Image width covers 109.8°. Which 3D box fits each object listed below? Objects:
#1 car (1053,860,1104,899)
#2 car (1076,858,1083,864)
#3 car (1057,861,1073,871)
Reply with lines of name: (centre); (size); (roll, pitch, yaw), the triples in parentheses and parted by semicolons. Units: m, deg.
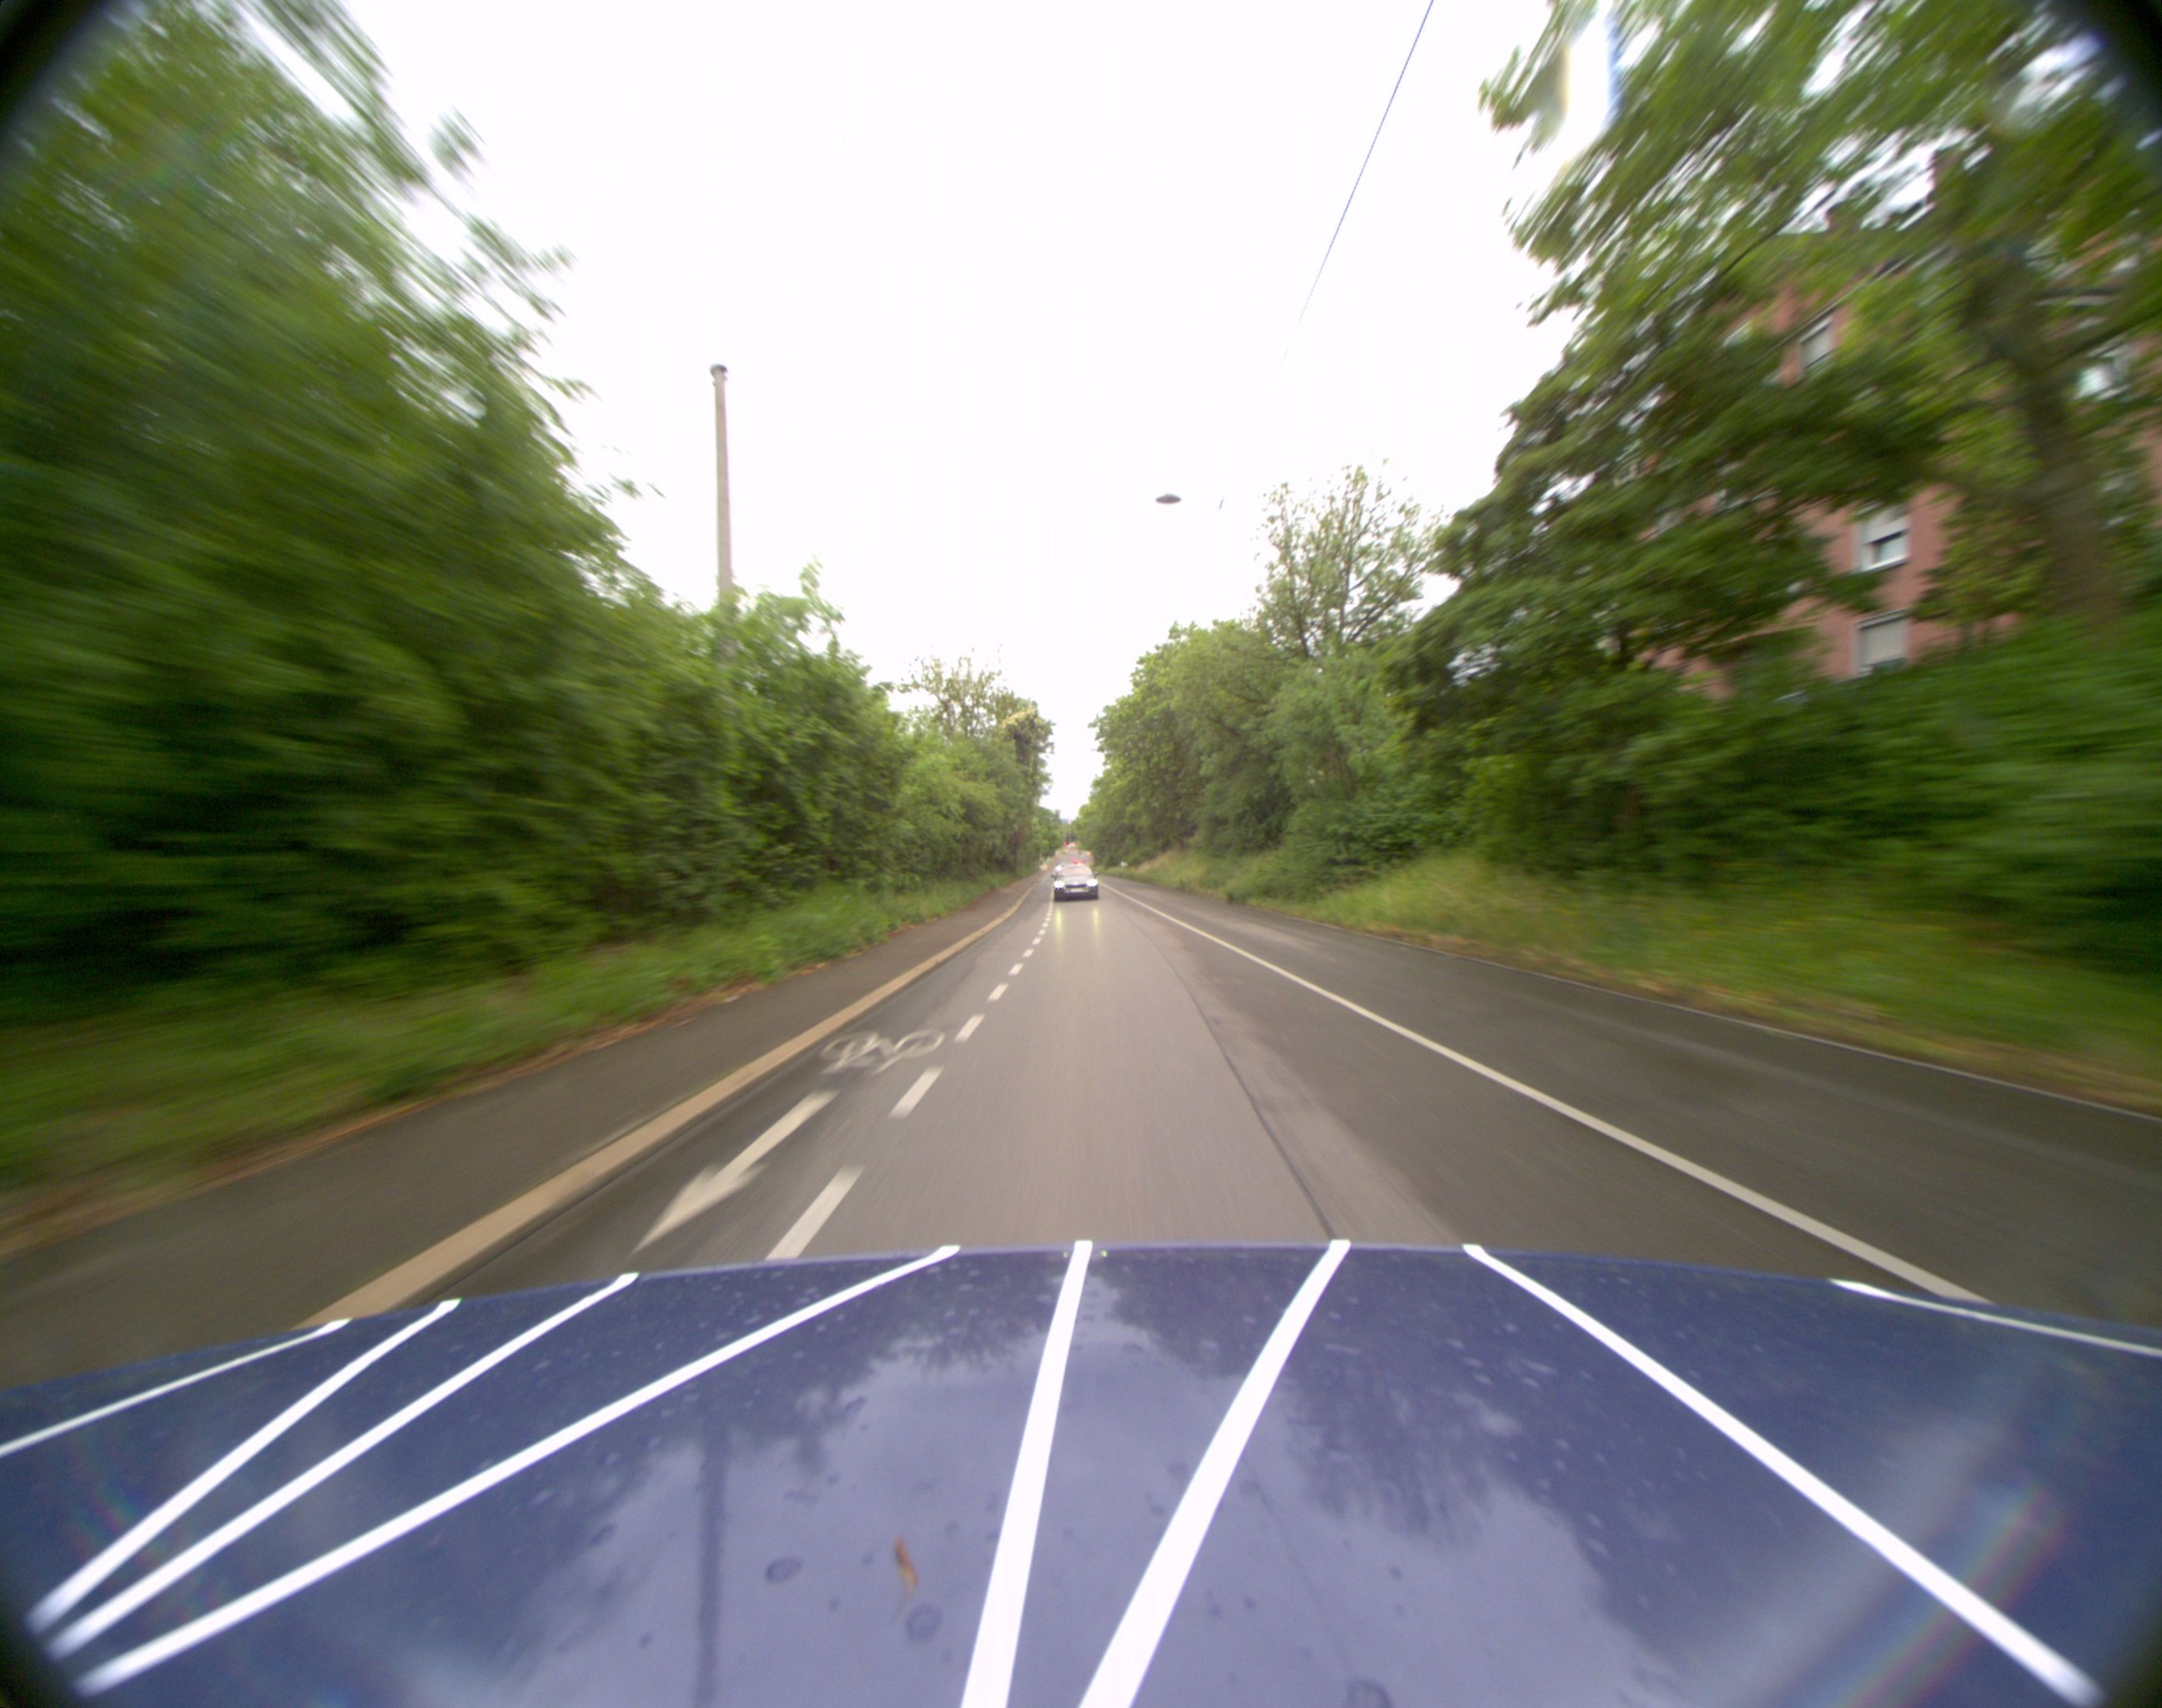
car: (-0.187, 1.045, 32.732); (1.981, 1.497, 3.999); (-3, 0, -2)
car: (-0.576, 2.195, 238.511); (1.981, 1.497, 3.999); (-3, 0, -2)
car: (-2.463, 1.810, 118.816); (2.000, 1.433, 3.997); (-3, 0, -8)
